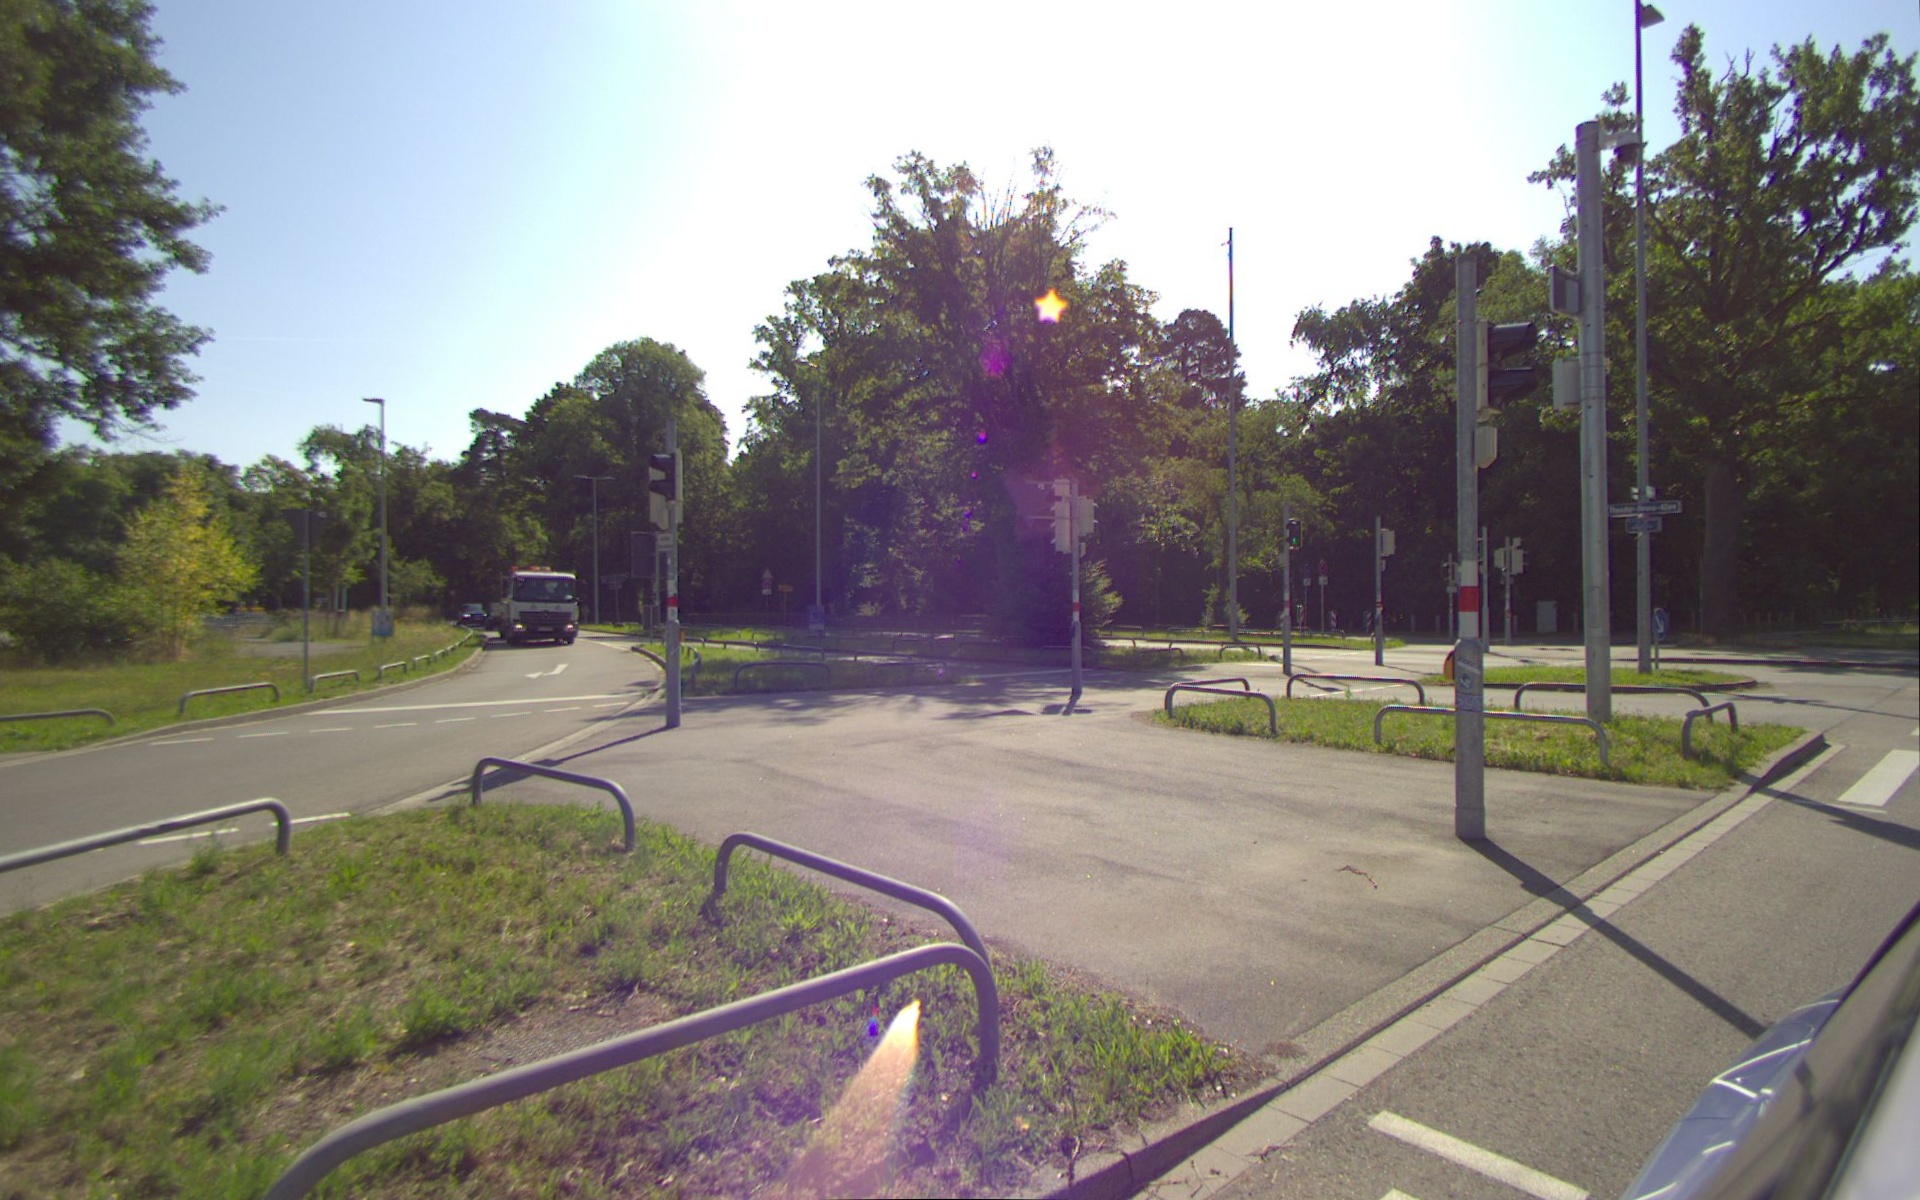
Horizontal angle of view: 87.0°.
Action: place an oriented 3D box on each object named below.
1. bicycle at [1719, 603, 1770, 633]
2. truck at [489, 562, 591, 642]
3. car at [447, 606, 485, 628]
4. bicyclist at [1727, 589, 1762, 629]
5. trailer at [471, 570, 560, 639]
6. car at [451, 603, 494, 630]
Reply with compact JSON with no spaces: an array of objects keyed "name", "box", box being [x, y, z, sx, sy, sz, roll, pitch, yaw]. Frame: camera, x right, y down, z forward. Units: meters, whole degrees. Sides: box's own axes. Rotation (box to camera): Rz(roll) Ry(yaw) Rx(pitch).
[{"name":"bicycle","box":[33.106,0.739,42.699,2.057,1.215,0.727,0,-1,-22]},{"name":"truck","box":[-15.998,0.076,38.307,2.627,2.752,6.207,0,0,-31]},{"name":"car","box":[-35.347,1.181,72.399,1.961,1.505,4.001,0,0,-33]},{"name":"bicyclist","box":[33.114,0.390,42.702,1.036,1.660,0.727,0,-1,-22]},{"name":"trailer","box":[-19.383,0.192,43.895,2.650,2.722,6.893,0,0,-31]},{"name":"car","box":[-28.045,0.919,58.127,1.810,1.502,4.002,0,0,-32]}]
